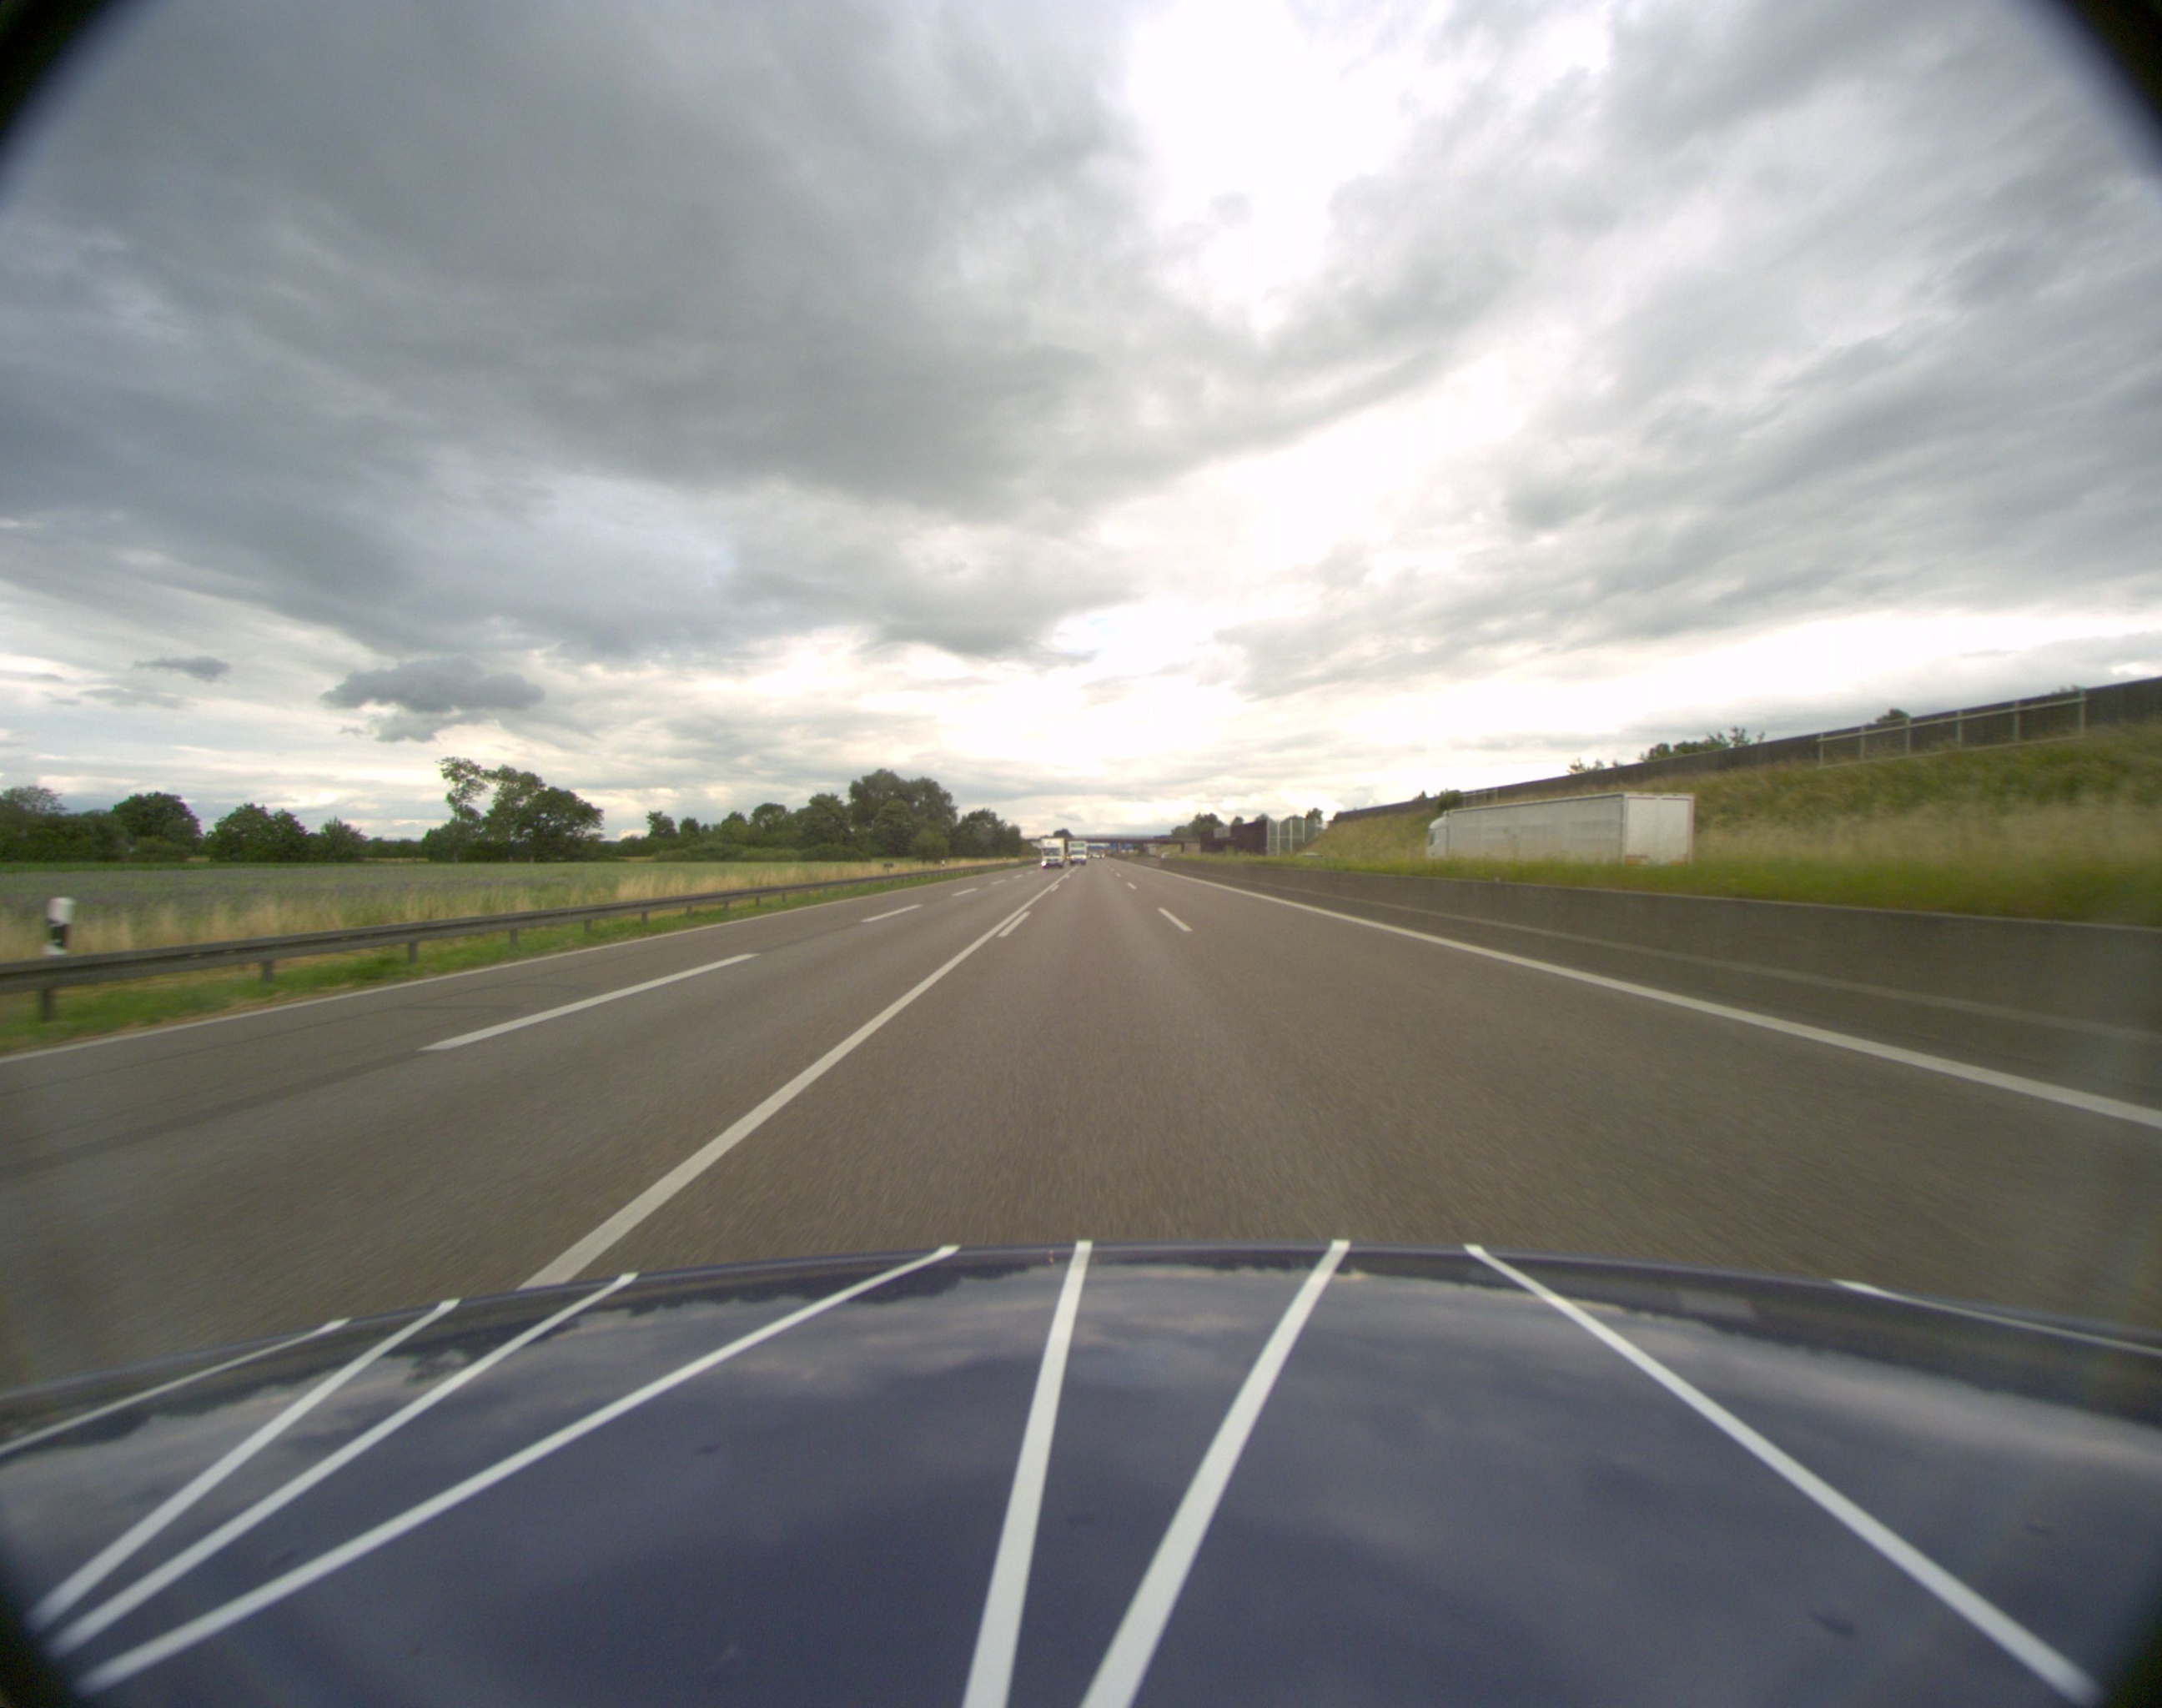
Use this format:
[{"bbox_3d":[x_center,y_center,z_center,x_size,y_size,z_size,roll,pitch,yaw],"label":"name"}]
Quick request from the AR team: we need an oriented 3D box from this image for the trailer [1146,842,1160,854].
[{"bbox_3d":[25.278,-2.189,267.540,3.680,3.957,12.678,-2,0,1],"label":"trailer"}]

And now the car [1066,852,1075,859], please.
[{"bbox_3d":[-2.253,0.359,164.848,1.922,1.541,4.924,0,0,2],"label":"car"}]

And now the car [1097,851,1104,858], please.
[{"bbox_3d":[5.728,0.001,218.198,1.998,2.002,4.000,0,0,1],"label":"car"}]

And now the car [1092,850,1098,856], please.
[{"bbox_3d":[4.567,-0.398,244.963,1.998,2.002,4.000,0,0,1],"label":"car"}]

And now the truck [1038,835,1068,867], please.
[{"bbox_3d":[-3.172,-0.326,88.467,3.112,3.450,8.890,-2,0,0],"label":"truck"}]

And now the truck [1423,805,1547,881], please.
[{"bbox_3d":[21.174,-0.566,40.385,2.733,3.656,7.489,0,0,1],"label":"truck"}]

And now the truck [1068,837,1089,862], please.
[{"bbox_3d":[-0.339,-0.627,110.447,2.777,3.484,9.062,-2,0,1],"label":"truck"}]

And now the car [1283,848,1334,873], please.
[{"bbox_3d":[13.851,0.379,46.466,1.998,1.356,3.747,-2,0,1],"label":"car"}]

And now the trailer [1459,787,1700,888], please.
[{"bbox_3d":[21.050,-0.615,33.574,2.784,3.656,12.264,0,0,1],"label":"trailer"}]
